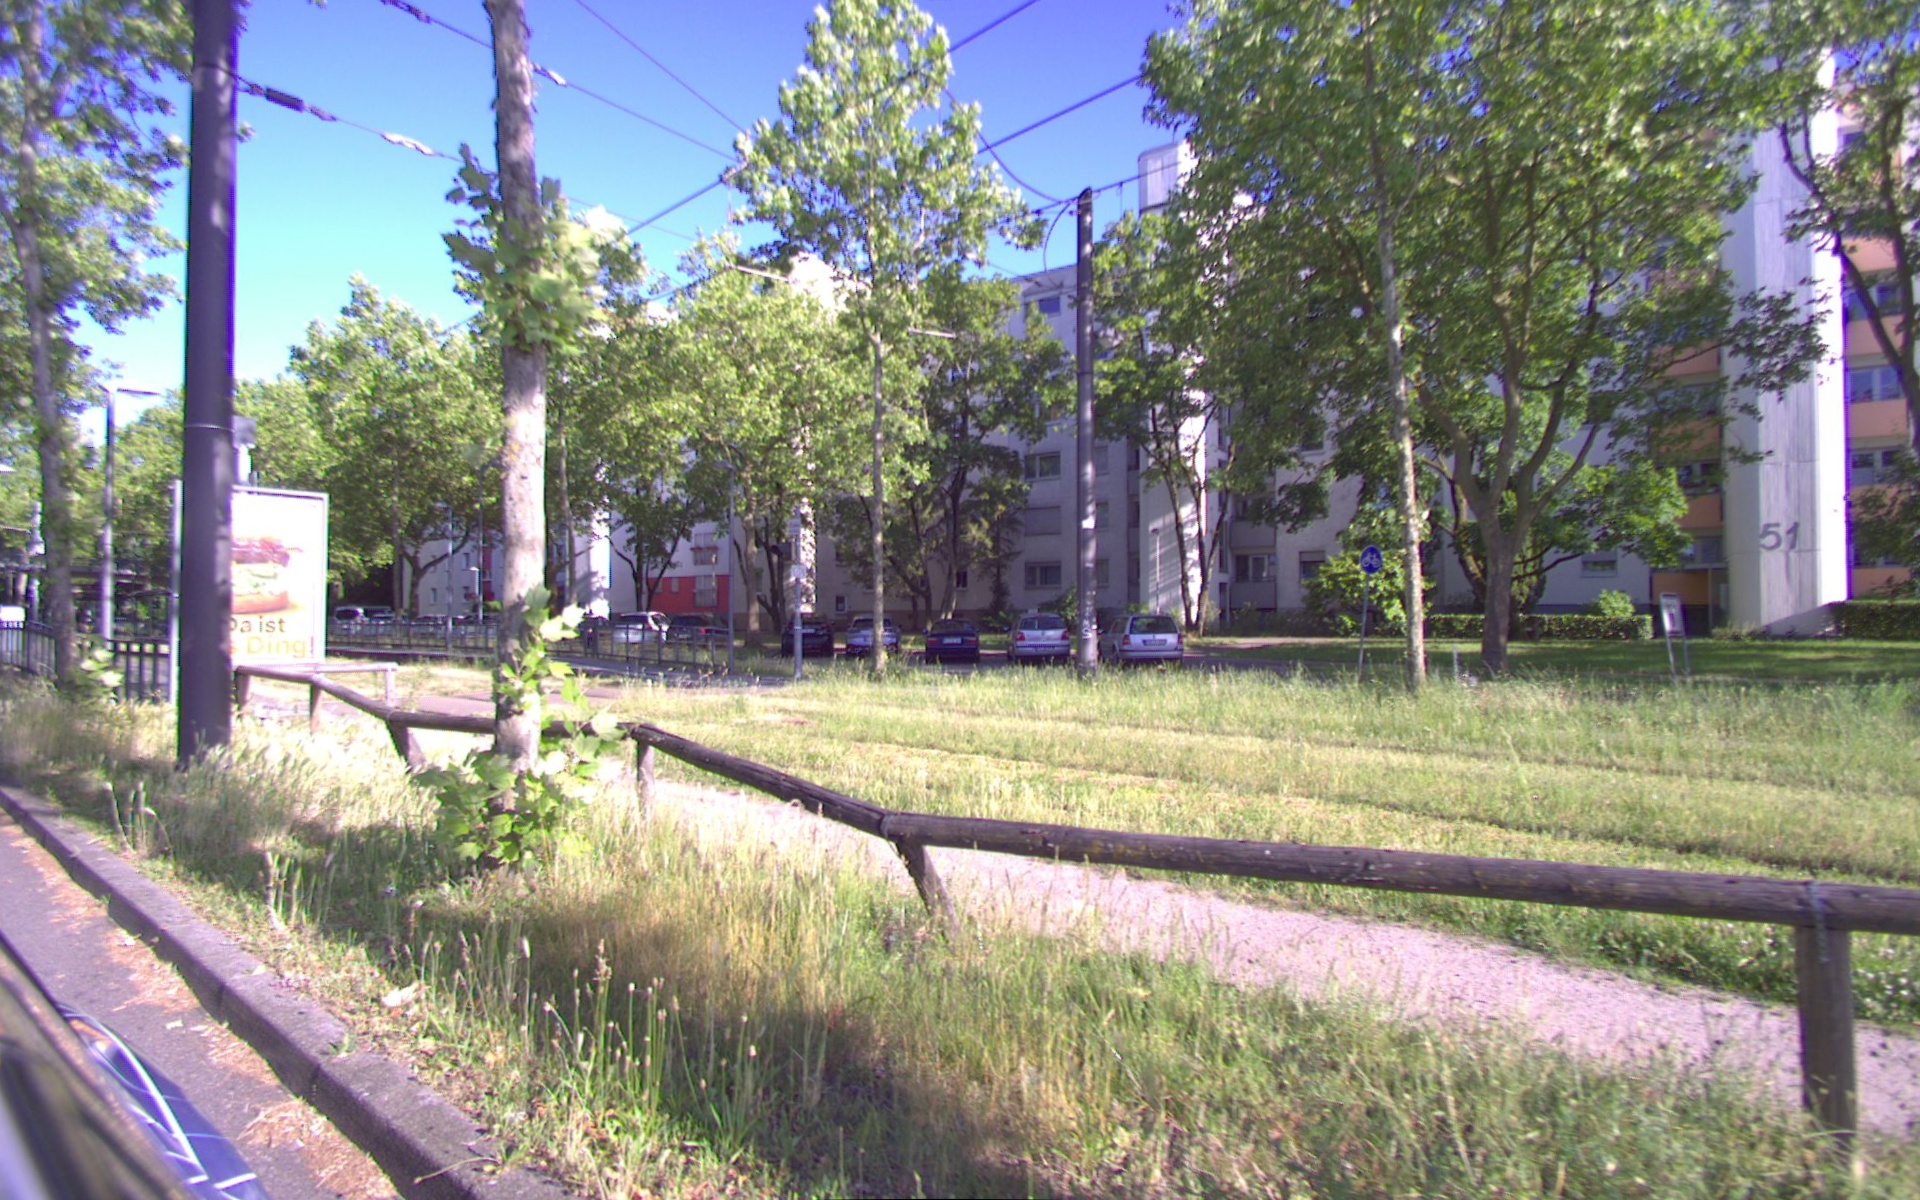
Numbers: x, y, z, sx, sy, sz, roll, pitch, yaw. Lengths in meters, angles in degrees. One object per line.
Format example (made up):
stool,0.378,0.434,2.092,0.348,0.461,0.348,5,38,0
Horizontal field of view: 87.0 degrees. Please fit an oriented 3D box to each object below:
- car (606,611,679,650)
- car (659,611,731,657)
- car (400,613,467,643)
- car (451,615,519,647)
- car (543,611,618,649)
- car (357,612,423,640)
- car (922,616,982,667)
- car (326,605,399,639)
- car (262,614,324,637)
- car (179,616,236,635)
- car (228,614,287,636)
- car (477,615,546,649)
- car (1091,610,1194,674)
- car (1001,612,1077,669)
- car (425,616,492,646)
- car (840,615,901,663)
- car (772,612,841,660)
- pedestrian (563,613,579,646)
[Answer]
car,-13.186,1.233,42.281,1.770,1.510,4.049,-1,-1,0
car,-10.445,1.297,40.100,1.770,1.676,4.049,-1,-1,0
car,-29.060,1.528,56.025,1.769,1.510,4.052,-1,-1,-3
car,-24.473,1.577,52.242,1.769,1.510,4.052,-1,-1,-3
car,-16.527,1.270,44.304,1.770,1.510,4.049,-1,-1,0
car,-33.913,1.519,60.321,1.769,1.510,4.052,-1,-1,-3
car,-0.292,1.208,30.871,1.653,1.398,4.051,-1,-1,-2
car,-36.416,1.334,61.804,1.992,1.933,4.435,-1,-1,-3
car,-45.844,1.714,69.659,1.769,1.510,4.052,-1,-1,-3
car,-61.690,2.074,83.056,1.769,1.510,4.052,-1,-1,-3
car,-53.128,1.868,76.612,1.769,1.510,4.052,-1,-1,-3
car,-21.833,1.544,49.436,1.769,1.510,4.052,-1,-1,-3
car,4.679,1.042,26.490,1.788,1.498,4.051,-1,-1,-2
car,2.213,1.109,29.361,1.739,1.498,4.051,-1,-1,-2
car,-26.868,1.622,54.360,1.769,1.510,4.052,-1,-1,-3
car,-2.878,1.229,33.227,1.770,1.398,4.051,-1,-1,-2
car,-5.272,1.211,35.201,1.770,1.510,4.049,-1,-1,0
pedestrian,-23.851,1.818,62.090,0.644,2.029,0.672,-1,-1,36
